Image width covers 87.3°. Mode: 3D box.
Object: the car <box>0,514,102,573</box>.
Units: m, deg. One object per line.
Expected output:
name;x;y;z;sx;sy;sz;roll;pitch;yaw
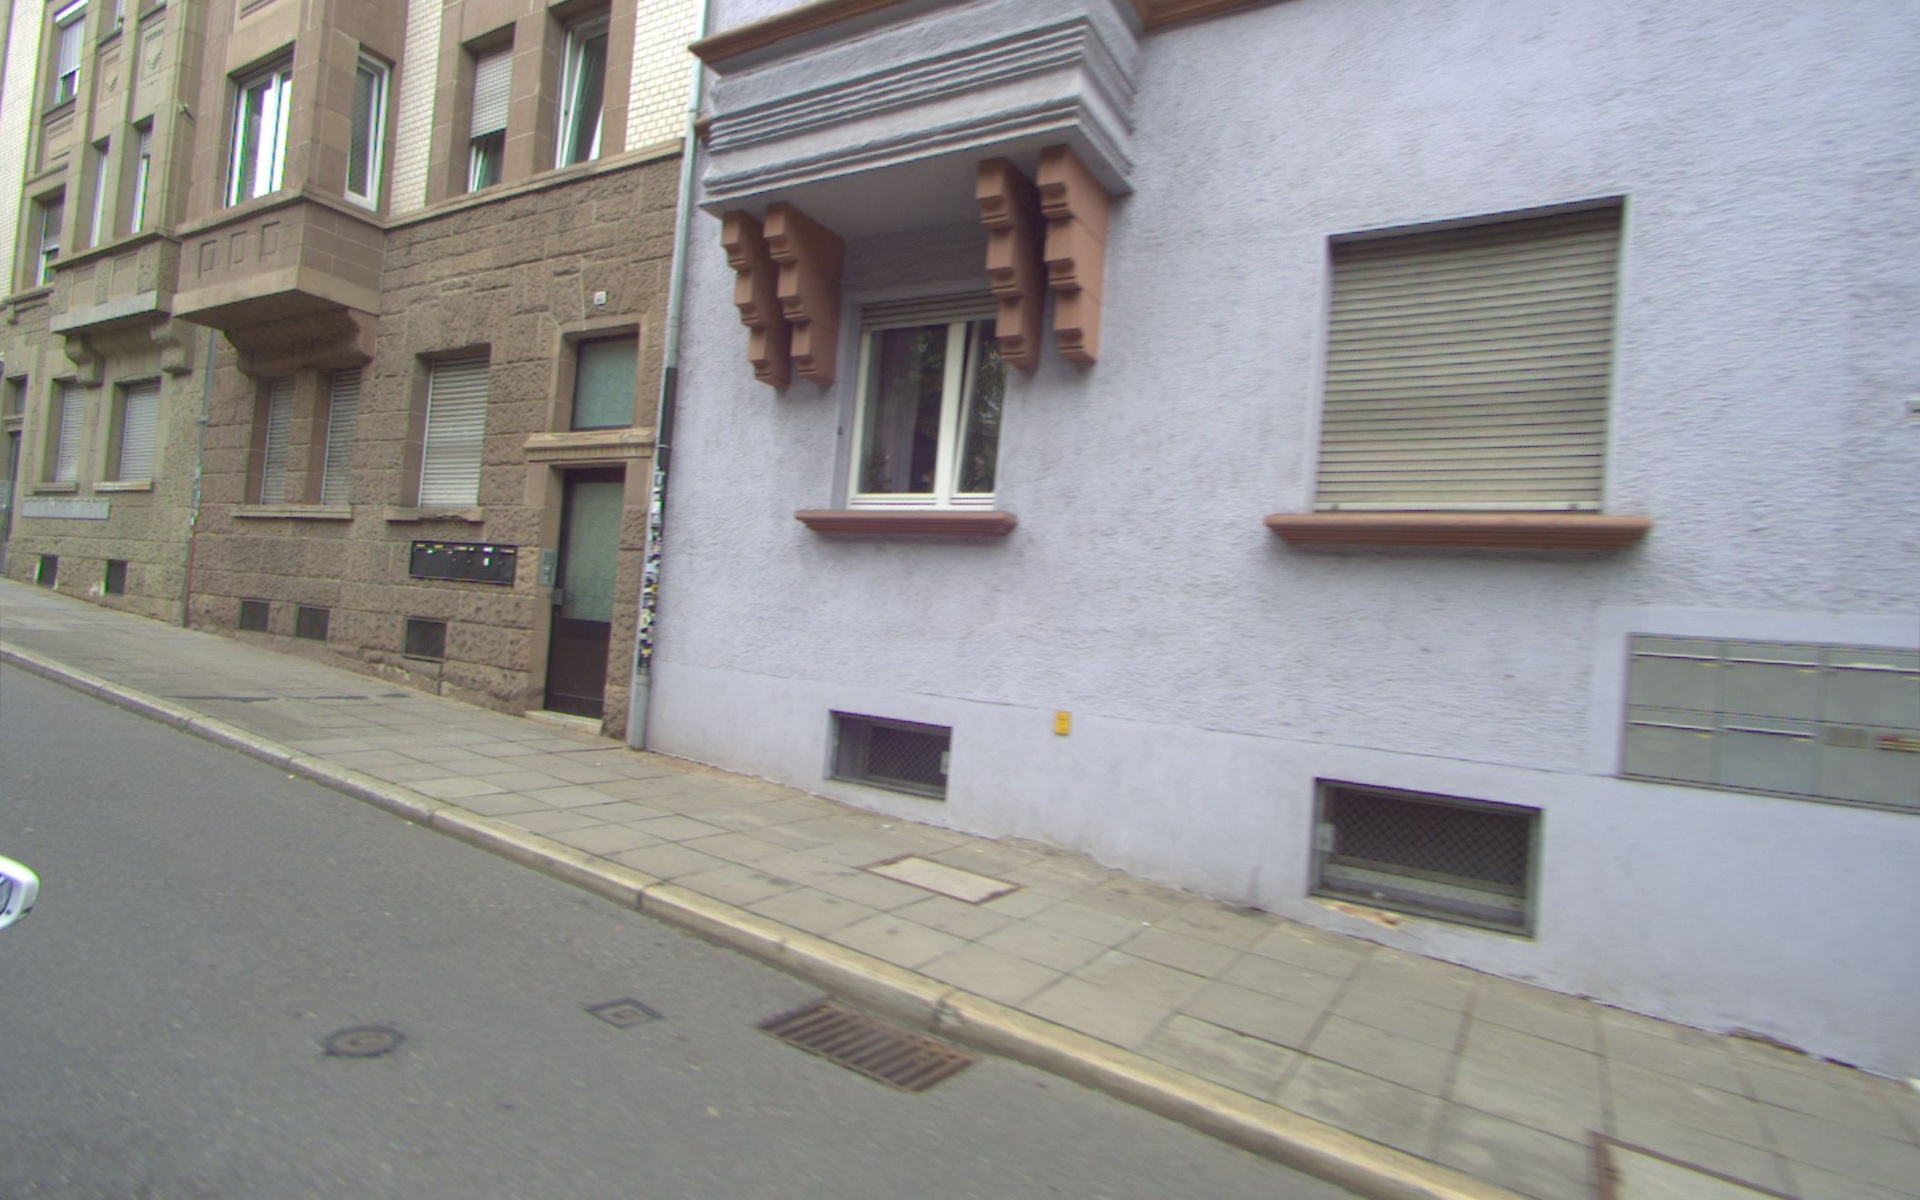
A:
car;-28.727;-1.851;30.147;1.752;1.300;4.136;10;-1;29
